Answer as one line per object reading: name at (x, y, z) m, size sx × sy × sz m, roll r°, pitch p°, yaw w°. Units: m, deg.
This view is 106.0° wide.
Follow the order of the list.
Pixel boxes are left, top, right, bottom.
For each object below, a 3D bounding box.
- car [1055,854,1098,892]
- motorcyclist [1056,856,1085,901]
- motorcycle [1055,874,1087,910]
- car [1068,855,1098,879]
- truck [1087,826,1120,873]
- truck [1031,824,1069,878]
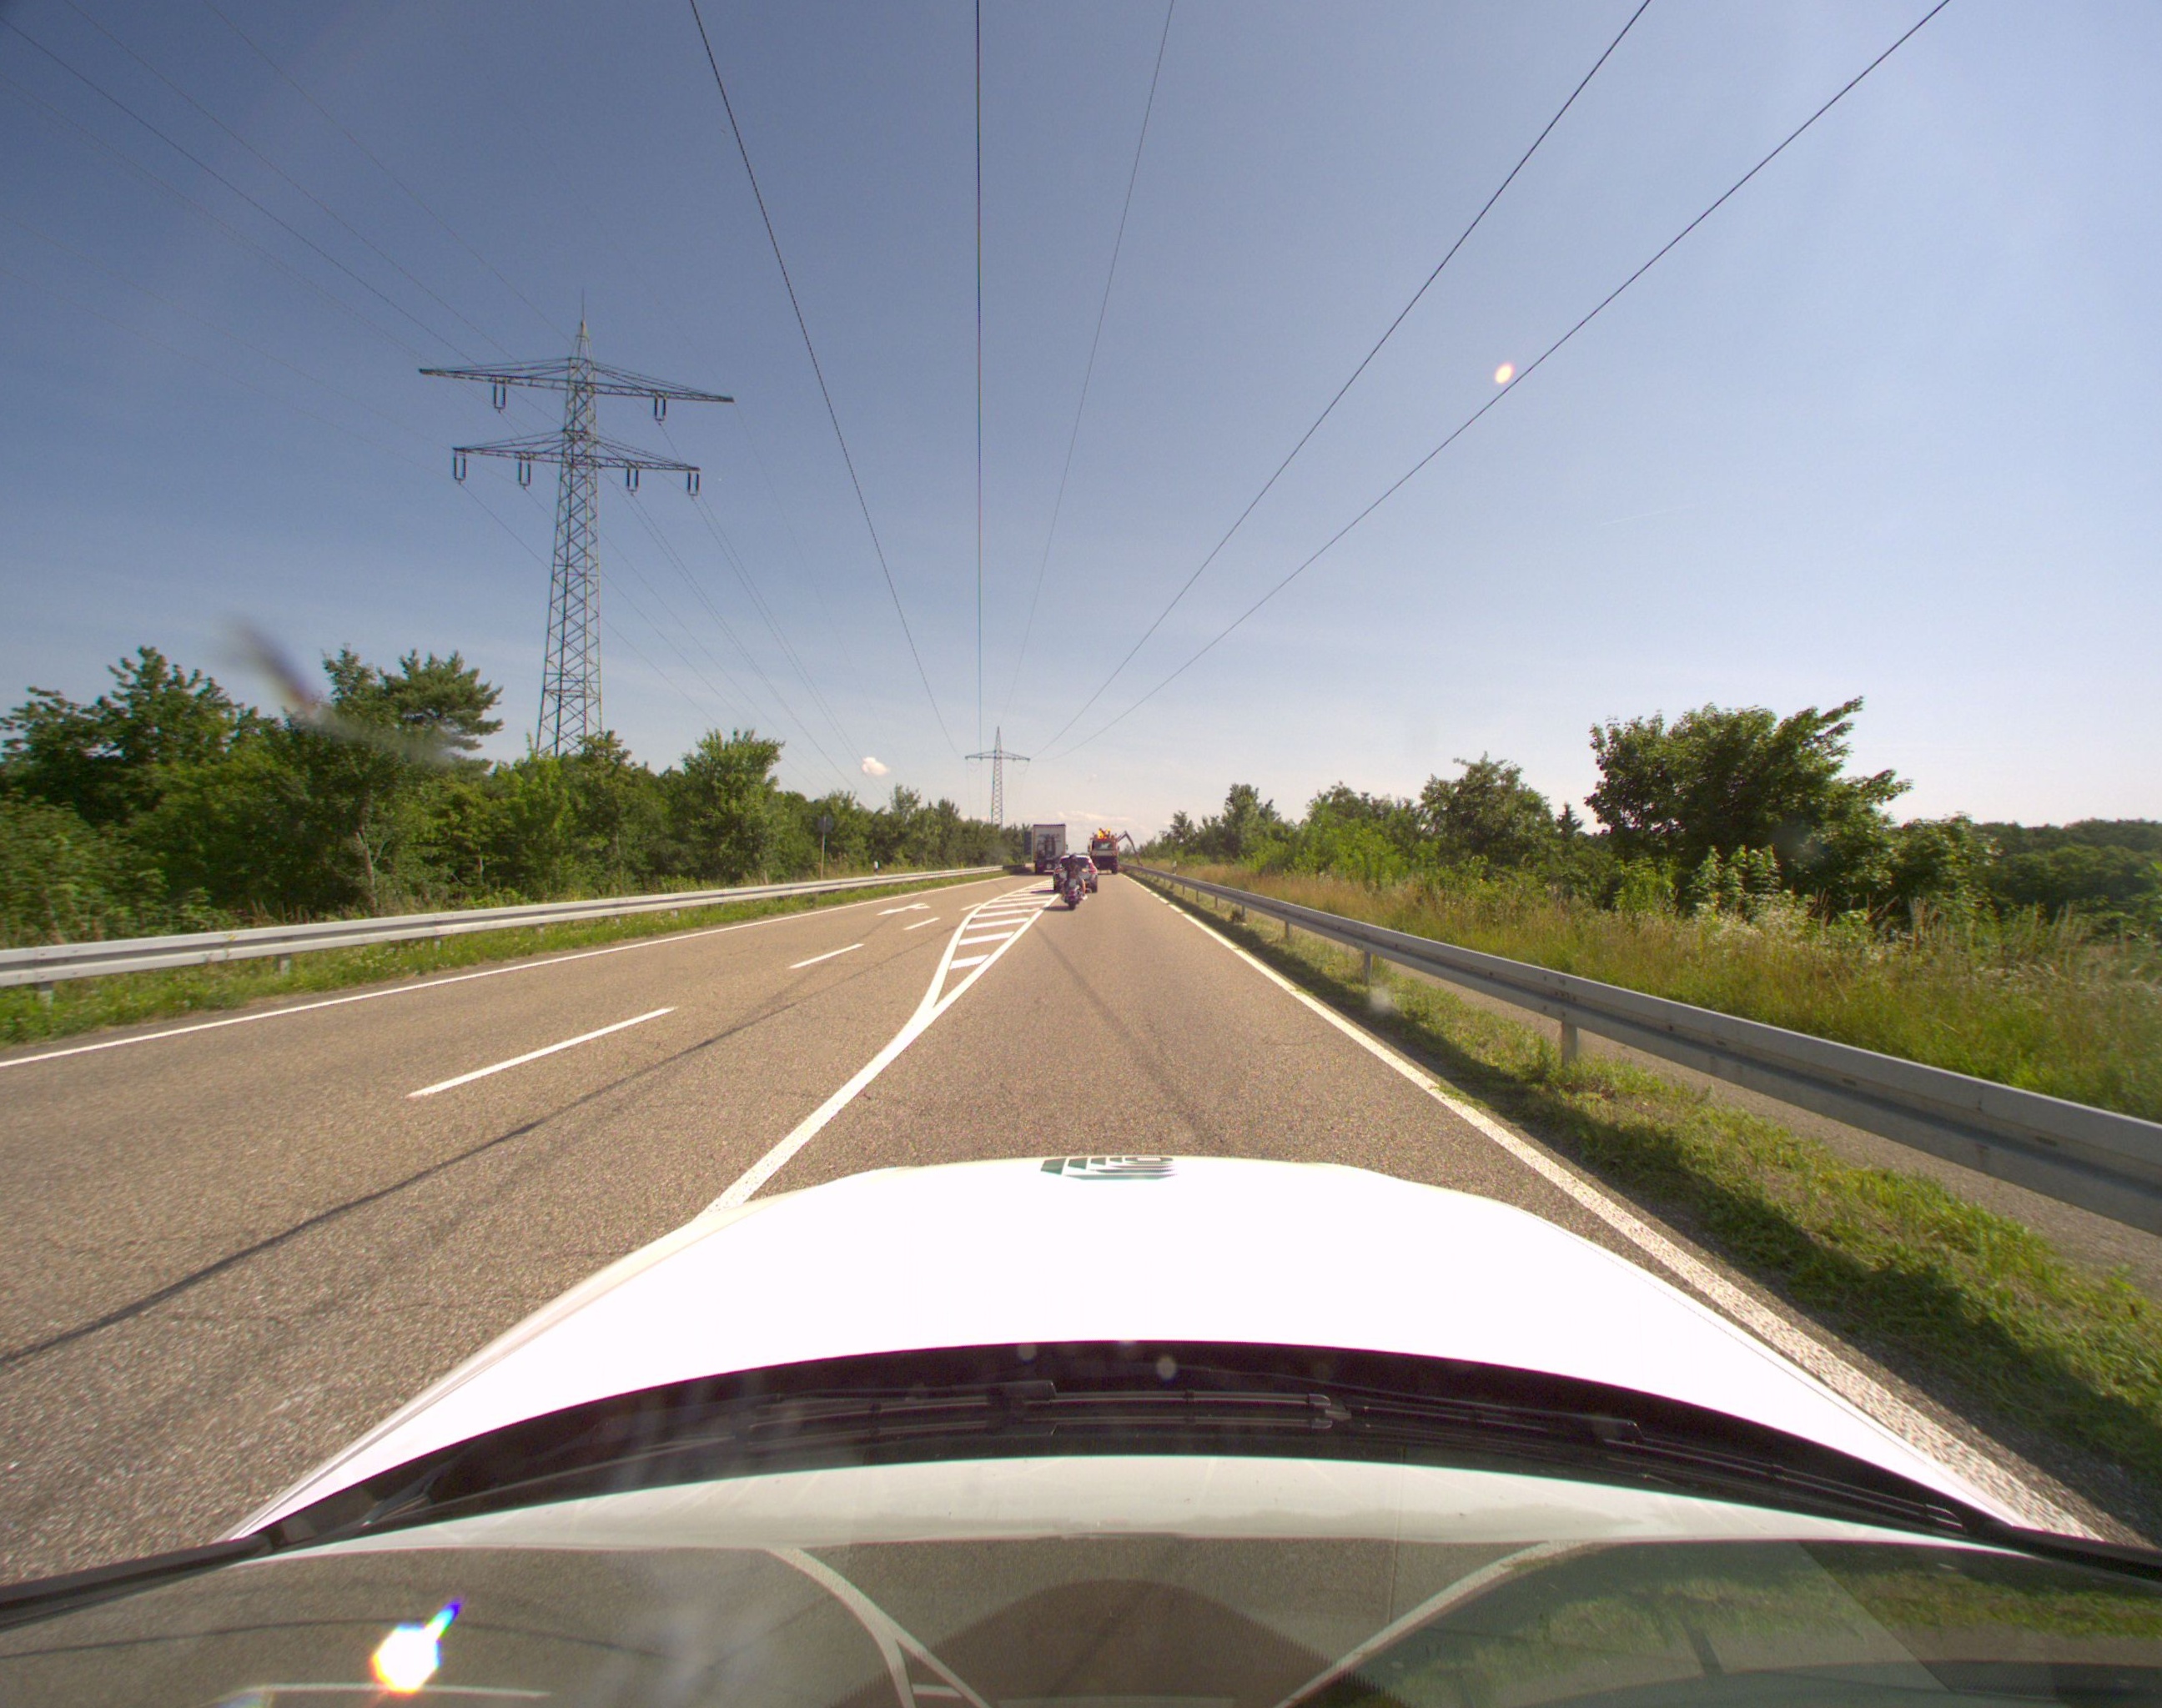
car at (-0.225, 0.768, 34.383) m, size 1.696 × 1.536 × 3.497 m, roll 0°, pitch 0°, yaw -2°
motorcyclist at (-0.296, 0.697, 23.520) m, size 0.834 × 1.280 × 0.919 m, roll 0°, pitch 0°, yaw -1°
motorcycle at (-0.283, 1.067, 23.481) m, size 0.856 × 0.915 × 2.227 m, roll -1°, pitch 0°, yaw -1°
car at (0.126, 0.788, 51.580) m, size 1.848 × 1.490 × 3.740 m, roll 0°, pitch 0°, yaw 0°
truck at (1.854, -0.330, 68.244) m, size 2.604 × 3.711 × 6.779 m, roll 0°, pitch 0°, yaw 1°
truck at (-2.760, -0.244, 71.305) m, size 2.961 × 4.187 × 14.807 m, roll 0°, pitch 0°, yaw -2°
